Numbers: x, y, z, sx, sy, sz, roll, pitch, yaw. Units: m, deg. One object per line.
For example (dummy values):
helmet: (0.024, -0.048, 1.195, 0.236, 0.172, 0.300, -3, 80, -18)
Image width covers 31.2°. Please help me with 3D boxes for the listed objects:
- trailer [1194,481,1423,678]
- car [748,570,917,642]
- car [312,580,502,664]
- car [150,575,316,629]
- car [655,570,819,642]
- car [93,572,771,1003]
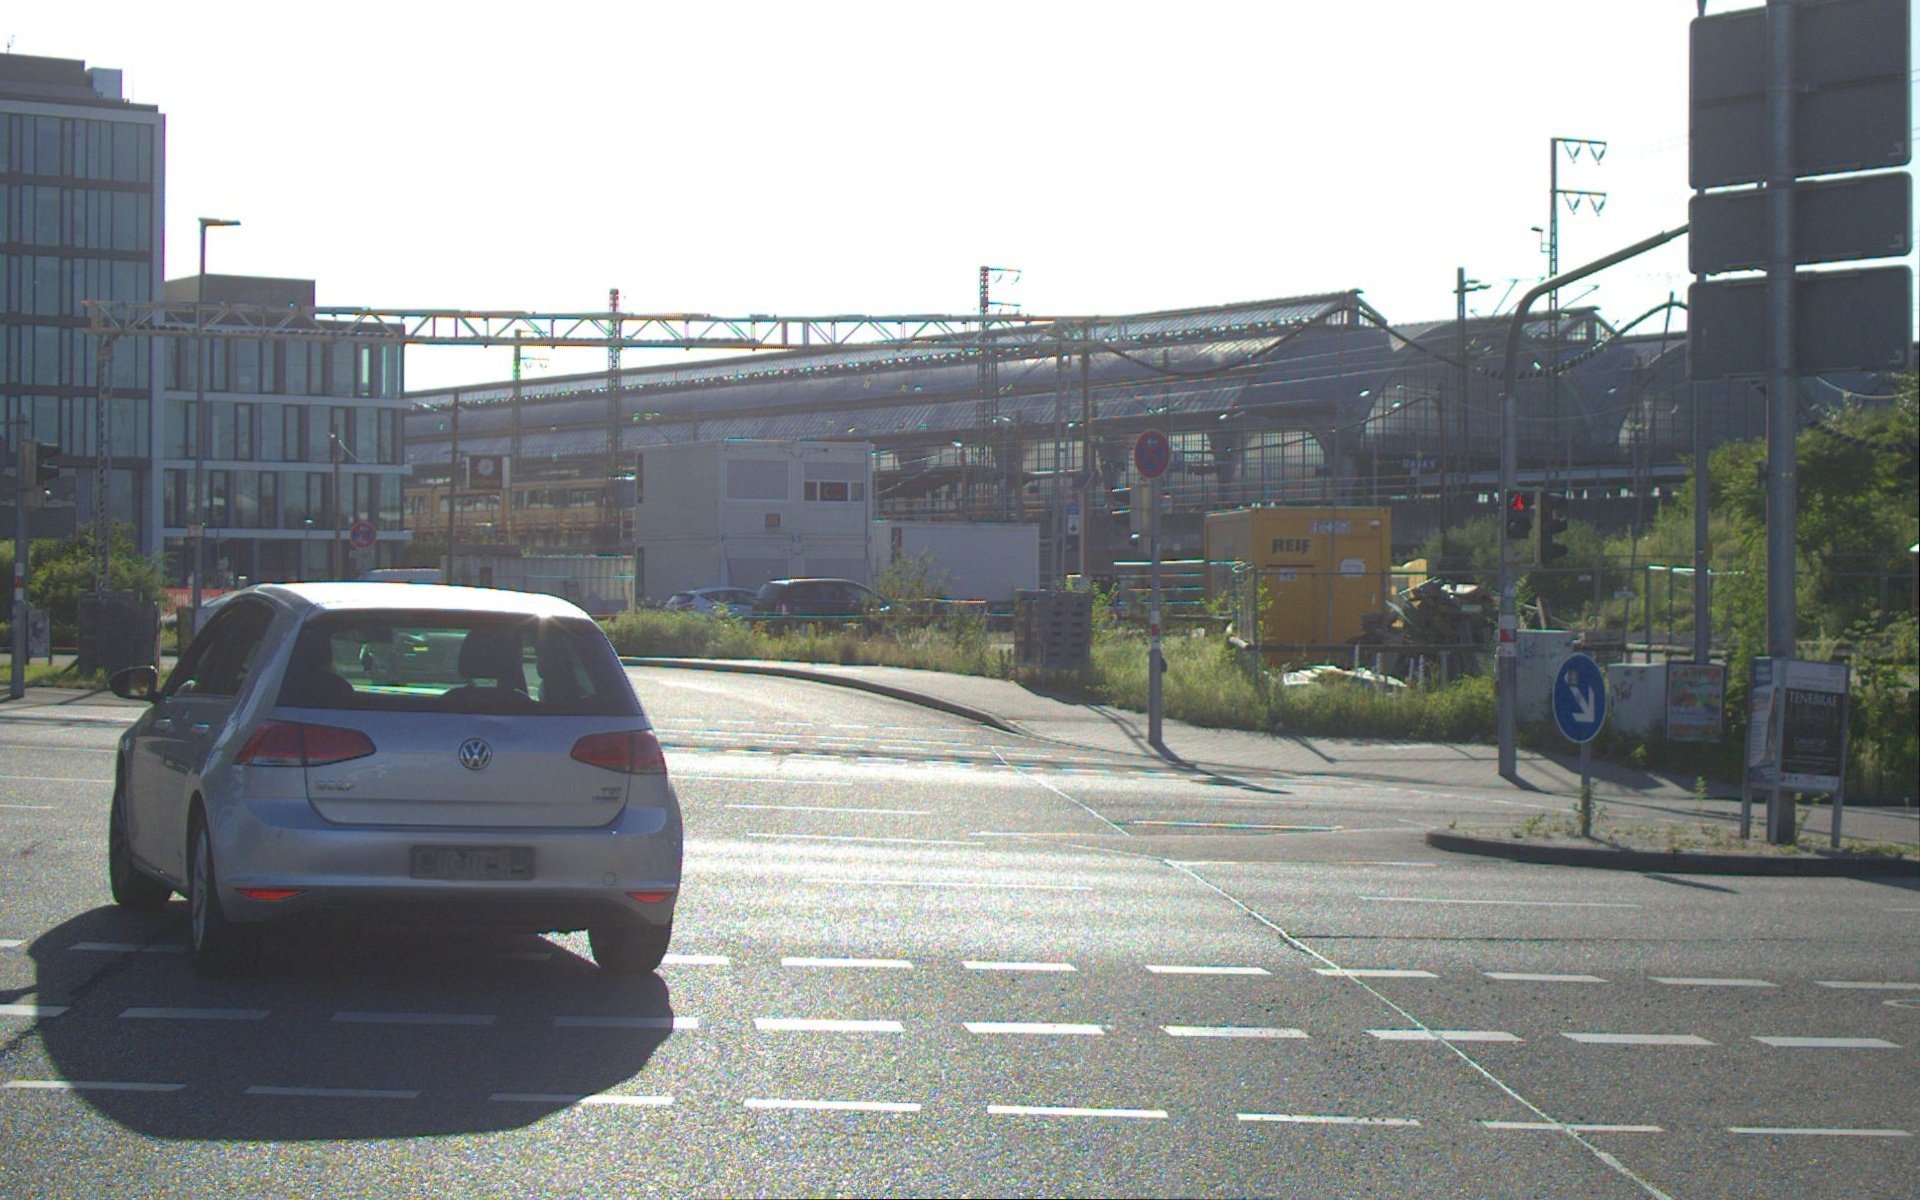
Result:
trailer: (6.220, -0.346, 62.457, 2.995, 3.281, 6.668, 2, 0, -3)
car: (-3.292, 0.162, 88.800, 3.986, 1.700, 1.616, 2, 0, -24)
car: (-10.615, 0.413, 65.832, 1.748, 1.471, 3.999, 1, 1, -40)
car: (-26.971, 0.096, 127.636, 5.705, 1.838, 1.917, 1, 1, -38)
car: (-5.963, 0.161, 91.873, 3.986, 1.782, 1.655, 2, 0, -24)
car: (-2.273, 0.639, 13.813, 1.970, 1.422, 3.938, 1, 1, -19)
